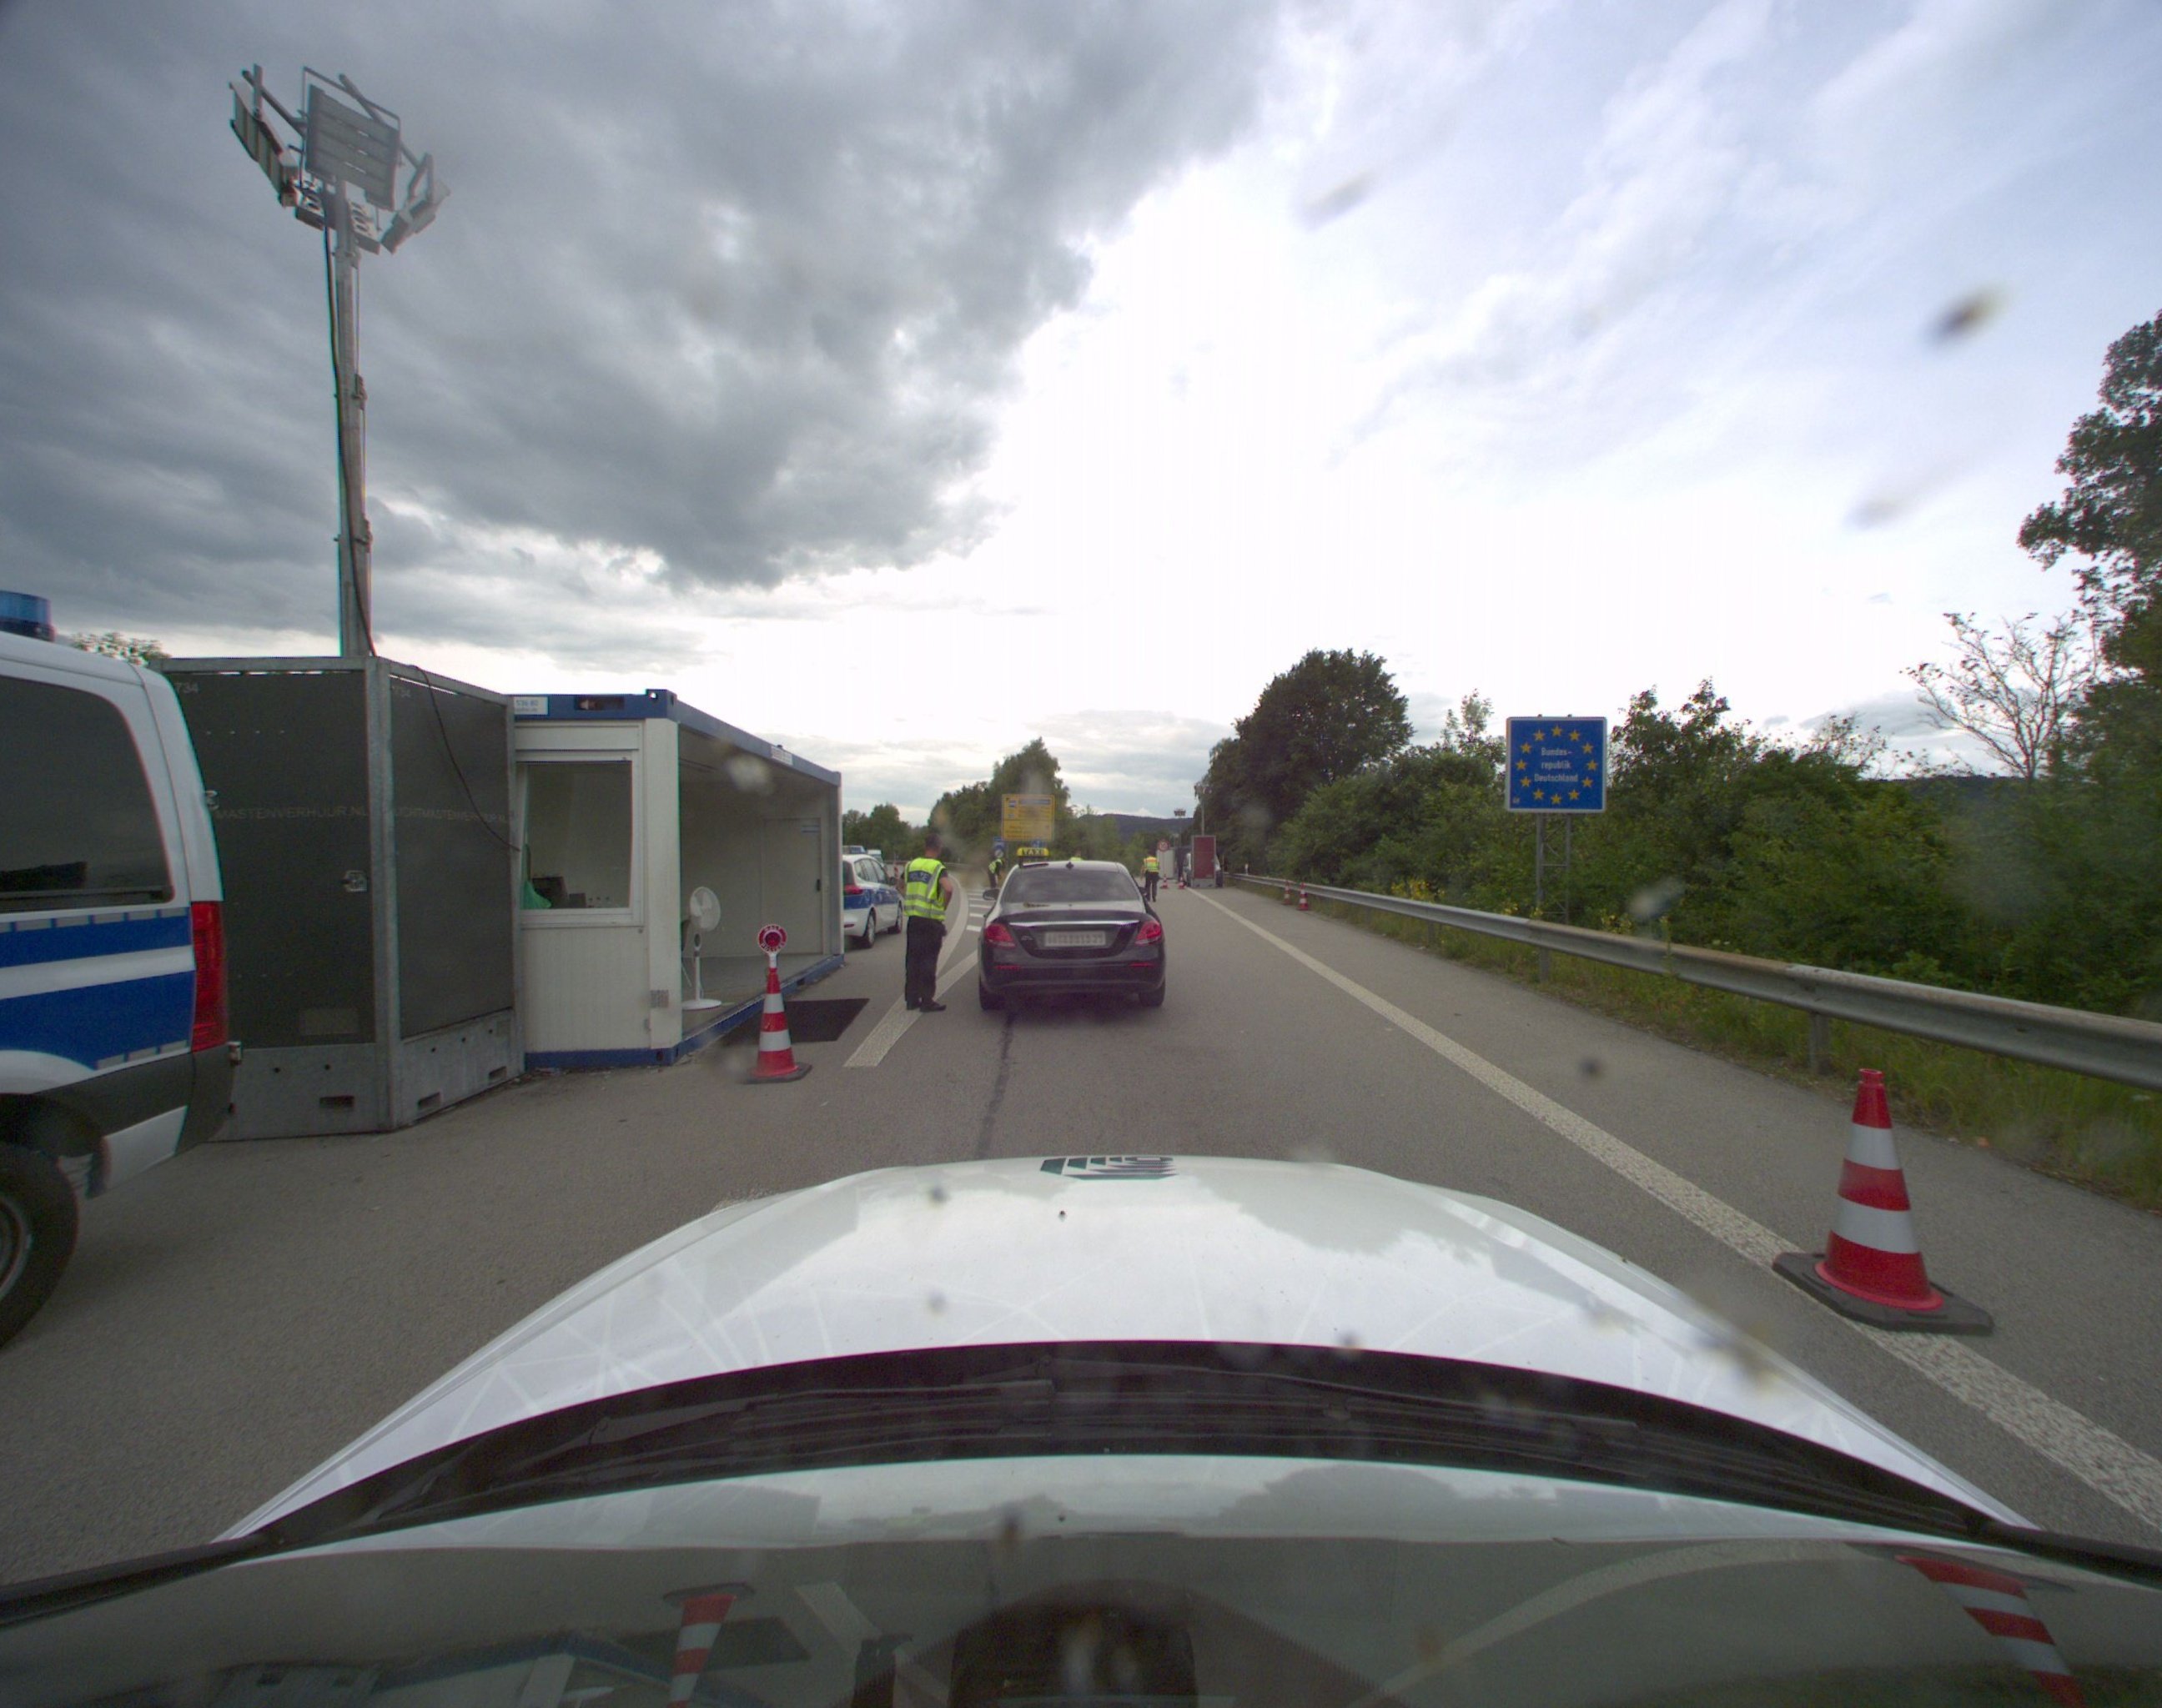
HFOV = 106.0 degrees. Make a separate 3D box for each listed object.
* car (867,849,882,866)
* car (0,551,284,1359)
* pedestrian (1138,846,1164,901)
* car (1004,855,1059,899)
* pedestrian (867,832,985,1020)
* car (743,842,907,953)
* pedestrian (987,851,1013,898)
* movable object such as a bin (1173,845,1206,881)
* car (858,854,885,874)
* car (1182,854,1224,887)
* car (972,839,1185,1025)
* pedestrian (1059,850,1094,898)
[{"bbox_3d":[-27.474,0.464,108.609,1.858,2.222,4.236,-1,0,-14],"label":"car"},{"bbox_3d":[-4.265,0.311,0.704,2.023,2.463,5.276,-1,0,-2],"label":"car"},{"bbox_3d":[2.388,0.658,27.996,0.809,1.830,0.810,-1,-1,1],"label":"pedestrian"},{"bbox_3d":[-1.799,0.816,30.829,1.850,1.498,4.255,-1,0,-1],"label":"car"},{"bbox_3d":[-1.521,0.665,8.027,0.752,1.718,0.823,-2,-1,39],"label":"pedestrian"},{"bbox_3d":[-4.540,0.705,15.076,1.864,1.743,4.005,-1,0,-2],"label":"car"},{"bbox_3d":[-3.066,0.772,30.865,0.908,1.769,0.911,-1,0,-1],"label":"pedestrian"},{"bbox_3d":[7.211,0.593,54.445,1.984,2.280,4.172,-1,0,4],"label":"movable object such as a bin"},{"bbox_3d":[-16.357,0.789,63.852,1.857,1.498,4.239,-1,0,-12],"label":"car"},{"bbox_3d":[6.769,0.868,45.643,1.908,1.678,5.087,1,0,3],"label":"car"},{"bbox_3d":[-0.119,0.681,9.328,1.851,1.595,4.371,-1,0,-3],"label":"car"},{"bbox_3d":[-0.176,0.726,29.463,0.914,1.698,0.905,0,-1,-30],"label":"pedestrian"}]
